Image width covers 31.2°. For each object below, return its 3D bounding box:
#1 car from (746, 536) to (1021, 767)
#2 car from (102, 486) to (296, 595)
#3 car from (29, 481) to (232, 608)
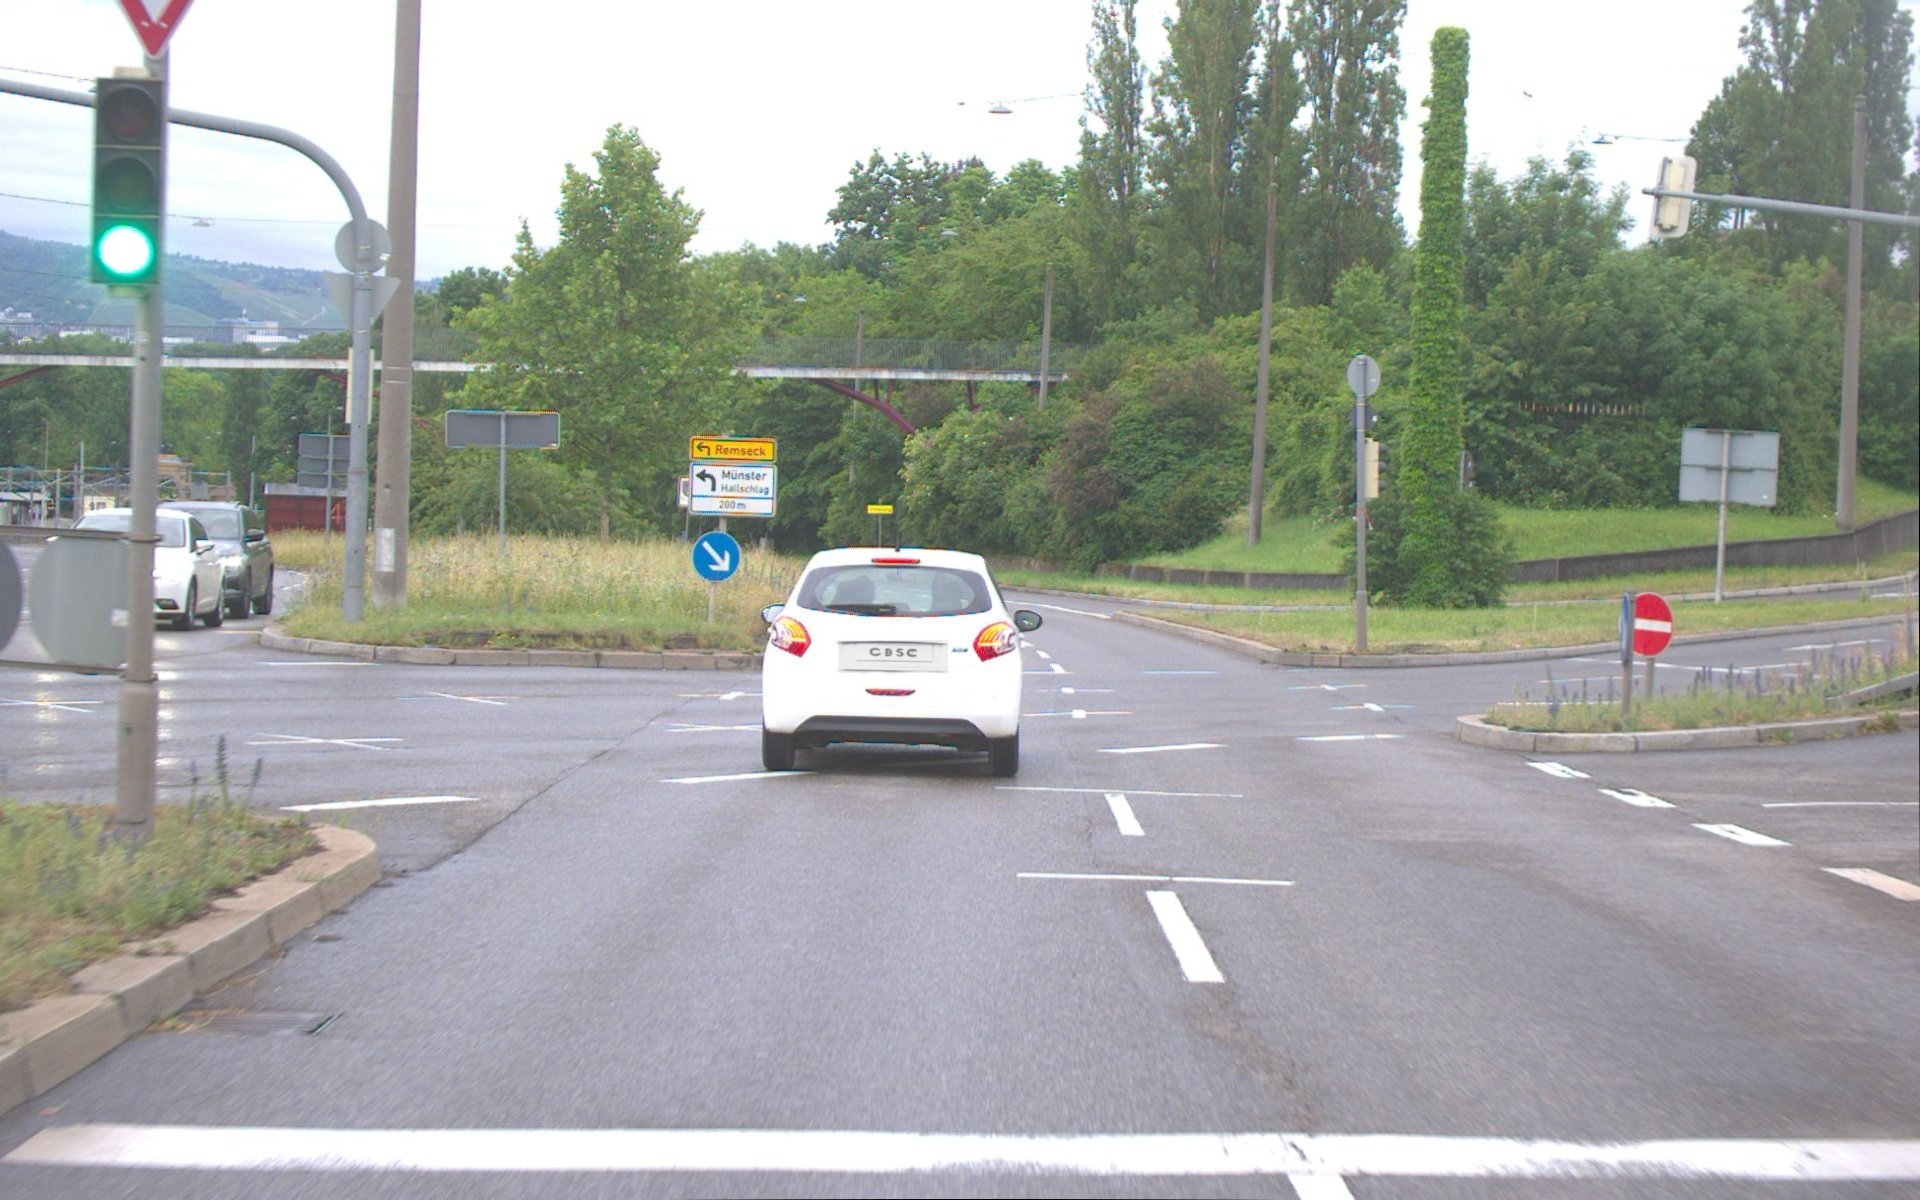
[{"bbox_3d":[-0.480,0.316,23.511,1.708,1.435,3.690,1,0,0],"label":"car"},{"bbox_3d":[-10.553,-0.866,47.936,1.895,1.320,4.001,2,3,-2],"label":"car"},{"bbox_3d":[-9.838,-0.639,41.033,1.737,1.368,4.001,2,0,-5],"label":"car"}]
